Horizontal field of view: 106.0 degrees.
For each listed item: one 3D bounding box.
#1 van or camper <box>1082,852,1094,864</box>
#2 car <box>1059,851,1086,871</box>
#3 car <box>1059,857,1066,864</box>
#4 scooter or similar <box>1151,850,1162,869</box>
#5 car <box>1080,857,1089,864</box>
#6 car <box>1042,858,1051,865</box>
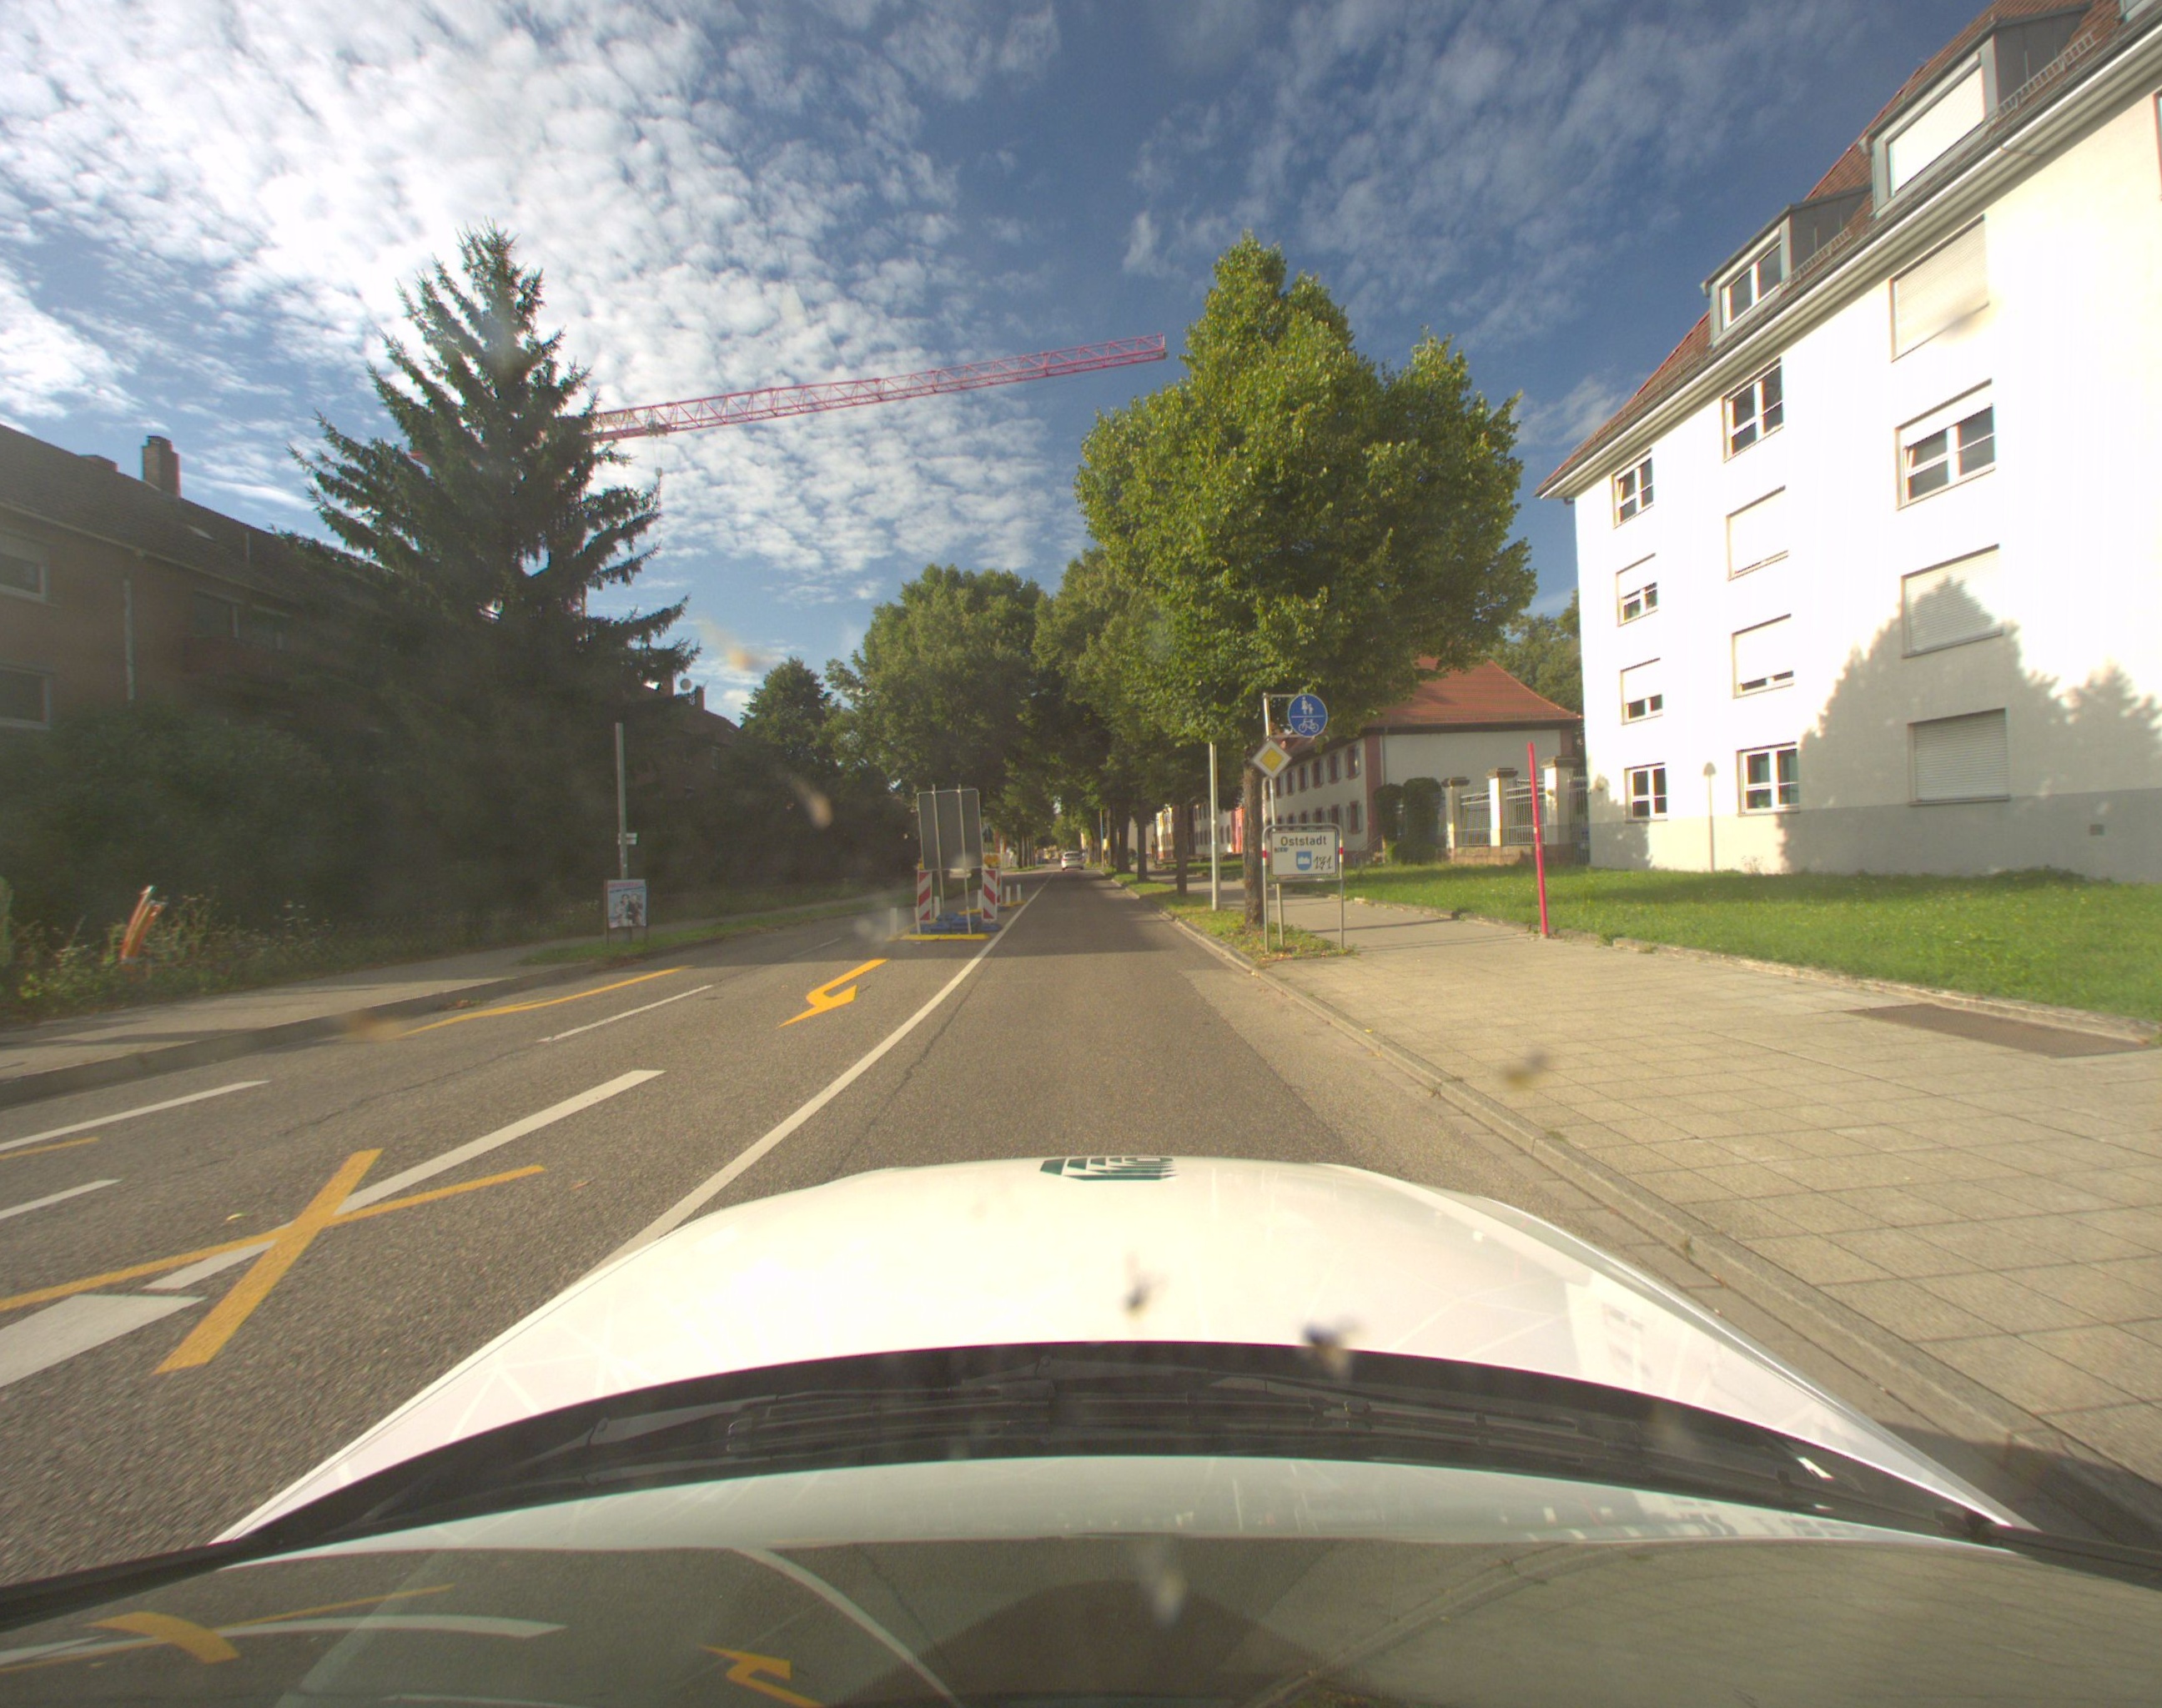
[{"bbox_3d":[1.592,1.025,191.596,2.206,2.607,5.362,-3,0,-5],"label":"van or camper"},{"bbox_3d":[-0.741,0.618,68.436,1.990,1.555,4.267,-1,-1,-4],"label":"car"},{"bbox_3d":[-5.503,1.923,242.377,1.987,1.755,3.998,-1,-1,-1],"label":"car"},{"bbox_3d":[5.341,0.372,57.791,0.577,1.291,1.381,-4,0,0],"label":"scooter or similar"},{"bbox_3d":[0.859,1.626,202.324,1.988,1.574,3.997,-3,0,-2],"label":"car"},{"bbox_3d":[-8.735,1.935,207.466,1.992,1.640,3.989,-3,0,-7],"label":"car"}]
